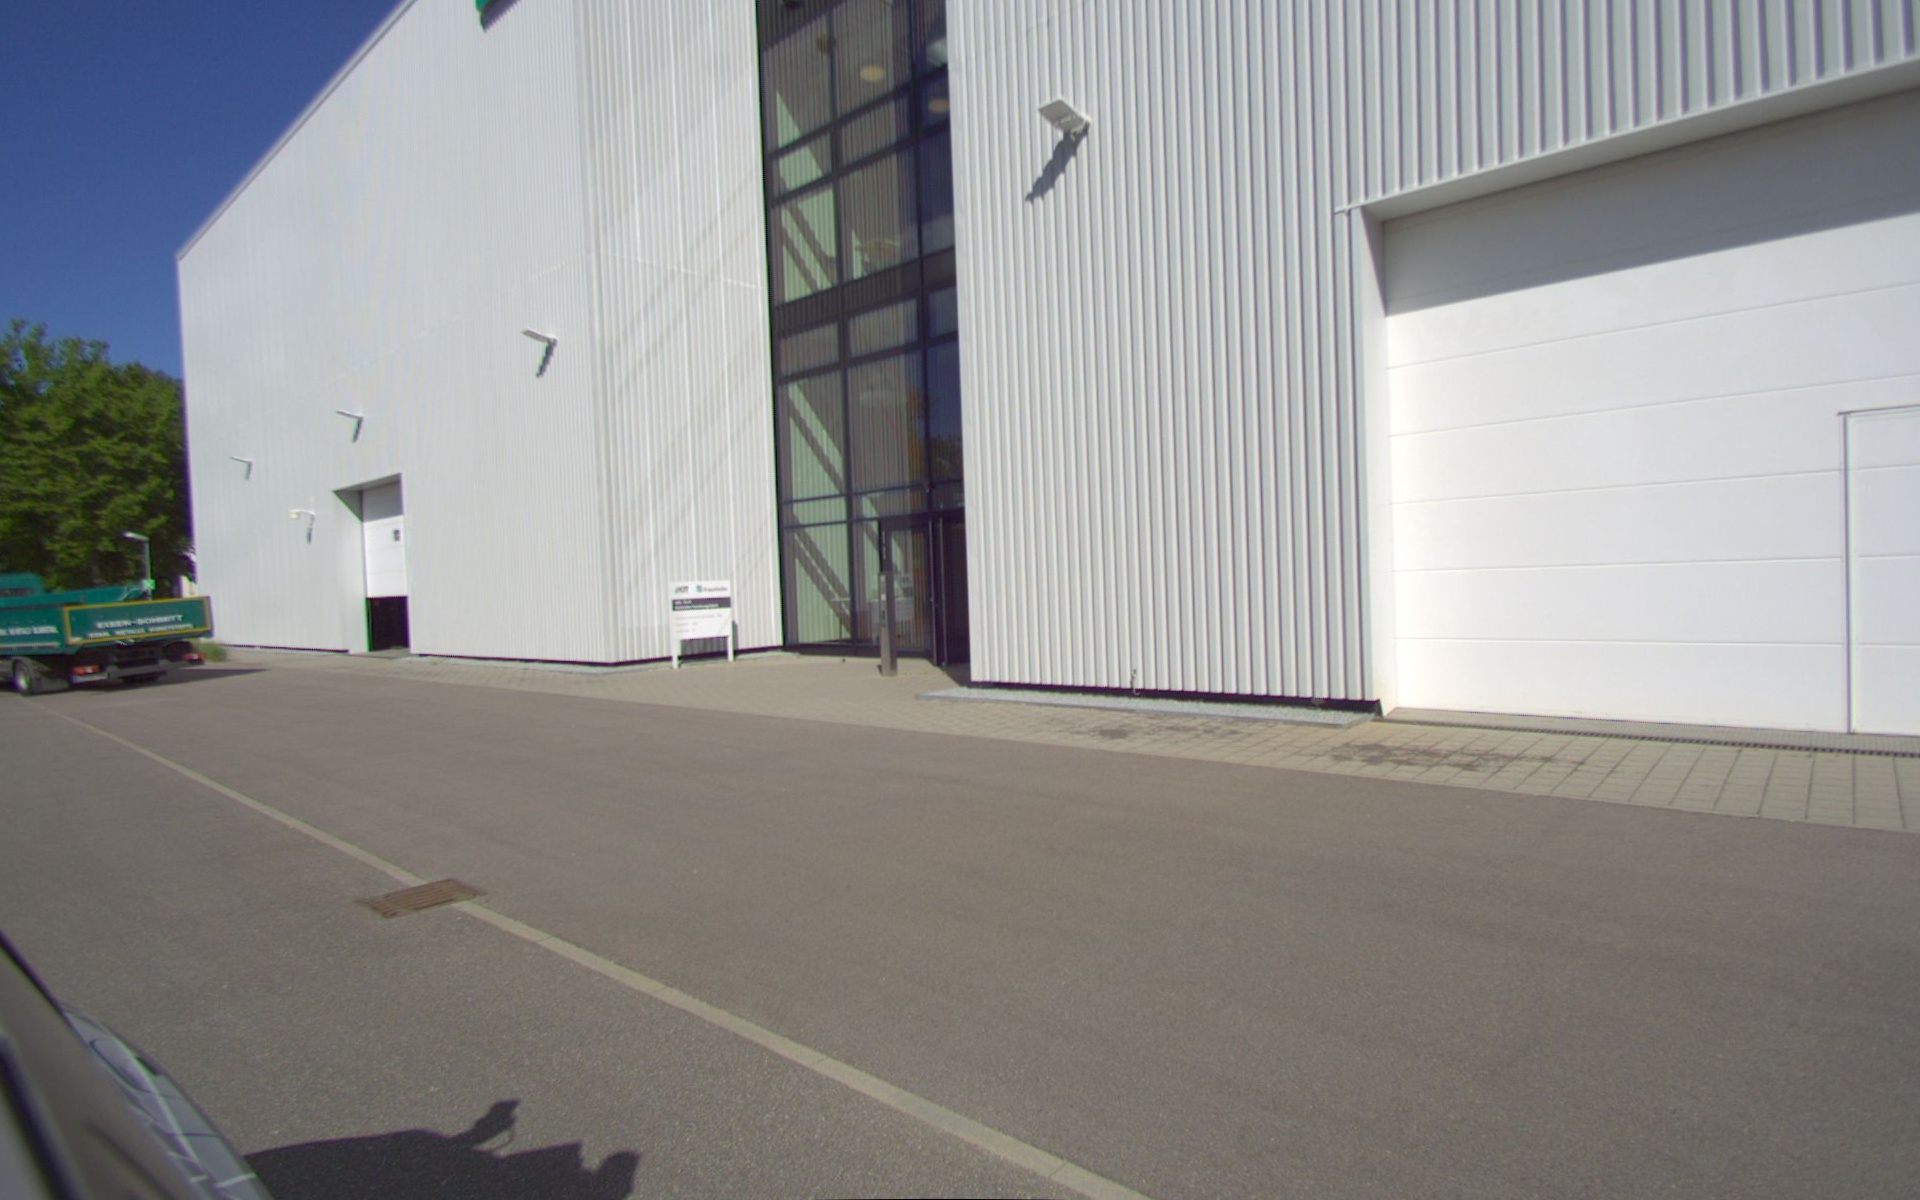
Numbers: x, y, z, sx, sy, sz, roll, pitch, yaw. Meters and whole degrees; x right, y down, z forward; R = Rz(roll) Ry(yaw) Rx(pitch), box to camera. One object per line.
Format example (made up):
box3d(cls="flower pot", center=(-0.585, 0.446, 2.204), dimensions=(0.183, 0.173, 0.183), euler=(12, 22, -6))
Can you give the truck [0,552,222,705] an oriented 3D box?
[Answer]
box3d(cls="truck", center=(-20.156, 0.651, 22.165), dimensions=(9.655, 2.736, 2.564), euler=(-2, 3, 30))
